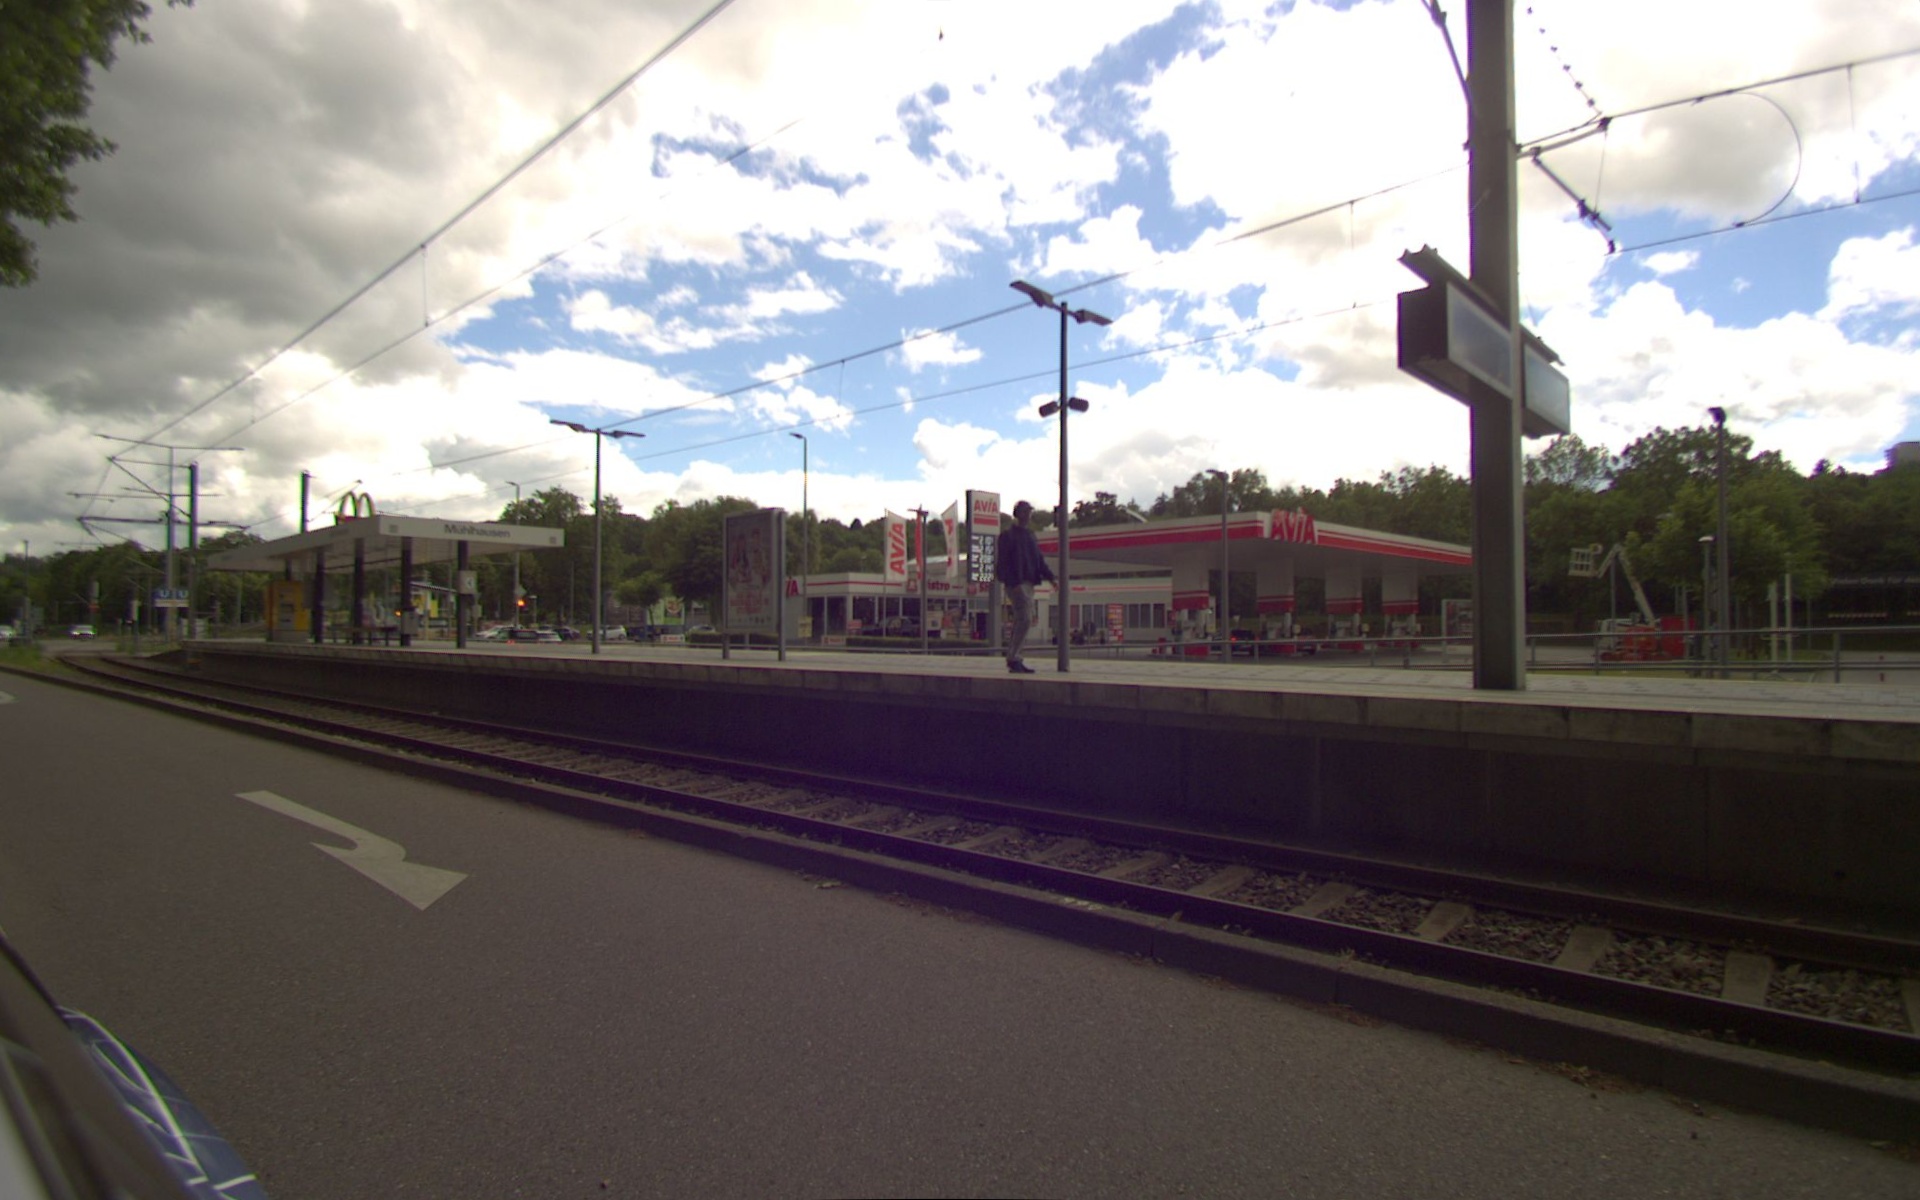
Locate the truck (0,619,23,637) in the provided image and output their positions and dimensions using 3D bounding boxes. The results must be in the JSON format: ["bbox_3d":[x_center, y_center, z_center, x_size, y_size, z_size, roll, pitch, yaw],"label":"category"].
[{"bbox_3d":[-167.346,4.898,178.189,8.309,3.055,2.675,-1,-3,43],"label":"truck"}]

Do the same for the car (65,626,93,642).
[{"bbox_3d":[-88.509,3.432,101.714,1.937,1.564,4.007,3,-3,-40],"label":"car"}]

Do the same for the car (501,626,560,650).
[{"bbox_3d":[-24.725,2.167,58.182,4.030,1.360,1.595,-2,-2,42],"label":"car"}]

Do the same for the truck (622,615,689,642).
[{"bbox_3d":[-29.064,2.772,96.754,2.386,2.513,5.743,-1,-2,43],"label":"truck"}]

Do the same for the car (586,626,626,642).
[{"bbox_3d":[-37.119,3.559,106.133,1.724,1.566,3.597,-1,-3,36],"label":"car"}]

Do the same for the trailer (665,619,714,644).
[{"bbox_3d":[-25.763,2.986,96.374,1.559,2.275,4.331,-1,-3,41],"label":"trailer"}]

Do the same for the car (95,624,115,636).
[{"bbox_3d":[-146.953,5.186,173.957,3.998,2.029,1.973,-1,-3,41],"label":"car"}]

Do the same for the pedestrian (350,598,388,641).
[{"bbox_3d":[-17.087,0.566,29.269,0.728,1.198,0.760,-2,-2,45],"label":"pedestrian"}]

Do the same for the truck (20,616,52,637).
[{"bbox_3d":[-165.607,4.784,181.360,8.698,3.587,3.389,-1,-3,43],"label":"truck"}]

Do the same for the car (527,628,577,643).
[{"bbox_3d":[-39.381,3.390,97.733,1.788,1.443,4.375,-1,-2,28],"label":"car"}]

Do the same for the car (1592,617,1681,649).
[{"bbox_3d":[38.838,1.881,58.140,4.056,1.765,1.890,-1,-3,40],"label":"car"}]

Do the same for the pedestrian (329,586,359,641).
[{"bbox_3d":[-18.479,0.413,30.354,0.572,1.633,0.577,-1,-4,43],"label":"pedestrian"}]

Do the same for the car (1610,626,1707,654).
[{"bbox_3d":[36.739,2.091,53.276,4.056,1.376,1.890,-1,-3,40],"label":"car"}]

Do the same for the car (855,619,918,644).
[{"bbox_3d":[-4.288,1.815,58.629,3.636,1.360,1.595,-2,-2,44],"label":"car"}]

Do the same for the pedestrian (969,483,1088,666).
[{"bbox_3d":[0.699,-0.222,10.300,0.936,1.757,0.741,-1,-3,41],"label":"pedestrian"}]

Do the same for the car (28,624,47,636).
[{"bbox_3d":[-156.846,5.100,172.102,3.998,2.029,1.926,-1,-3,41],"label":"car"}]

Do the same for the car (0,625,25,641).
[{"bbox_3d":[-100.150,3.460,106.910,1.803,1.564,4.007,3,-3,-40],"label":"car"}]

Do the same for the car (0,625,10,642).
[{"bbox_3d":[-90.348,3.099,94.596,1.802,1.564,4.008,3,-3,-38],"label":"car"}]
